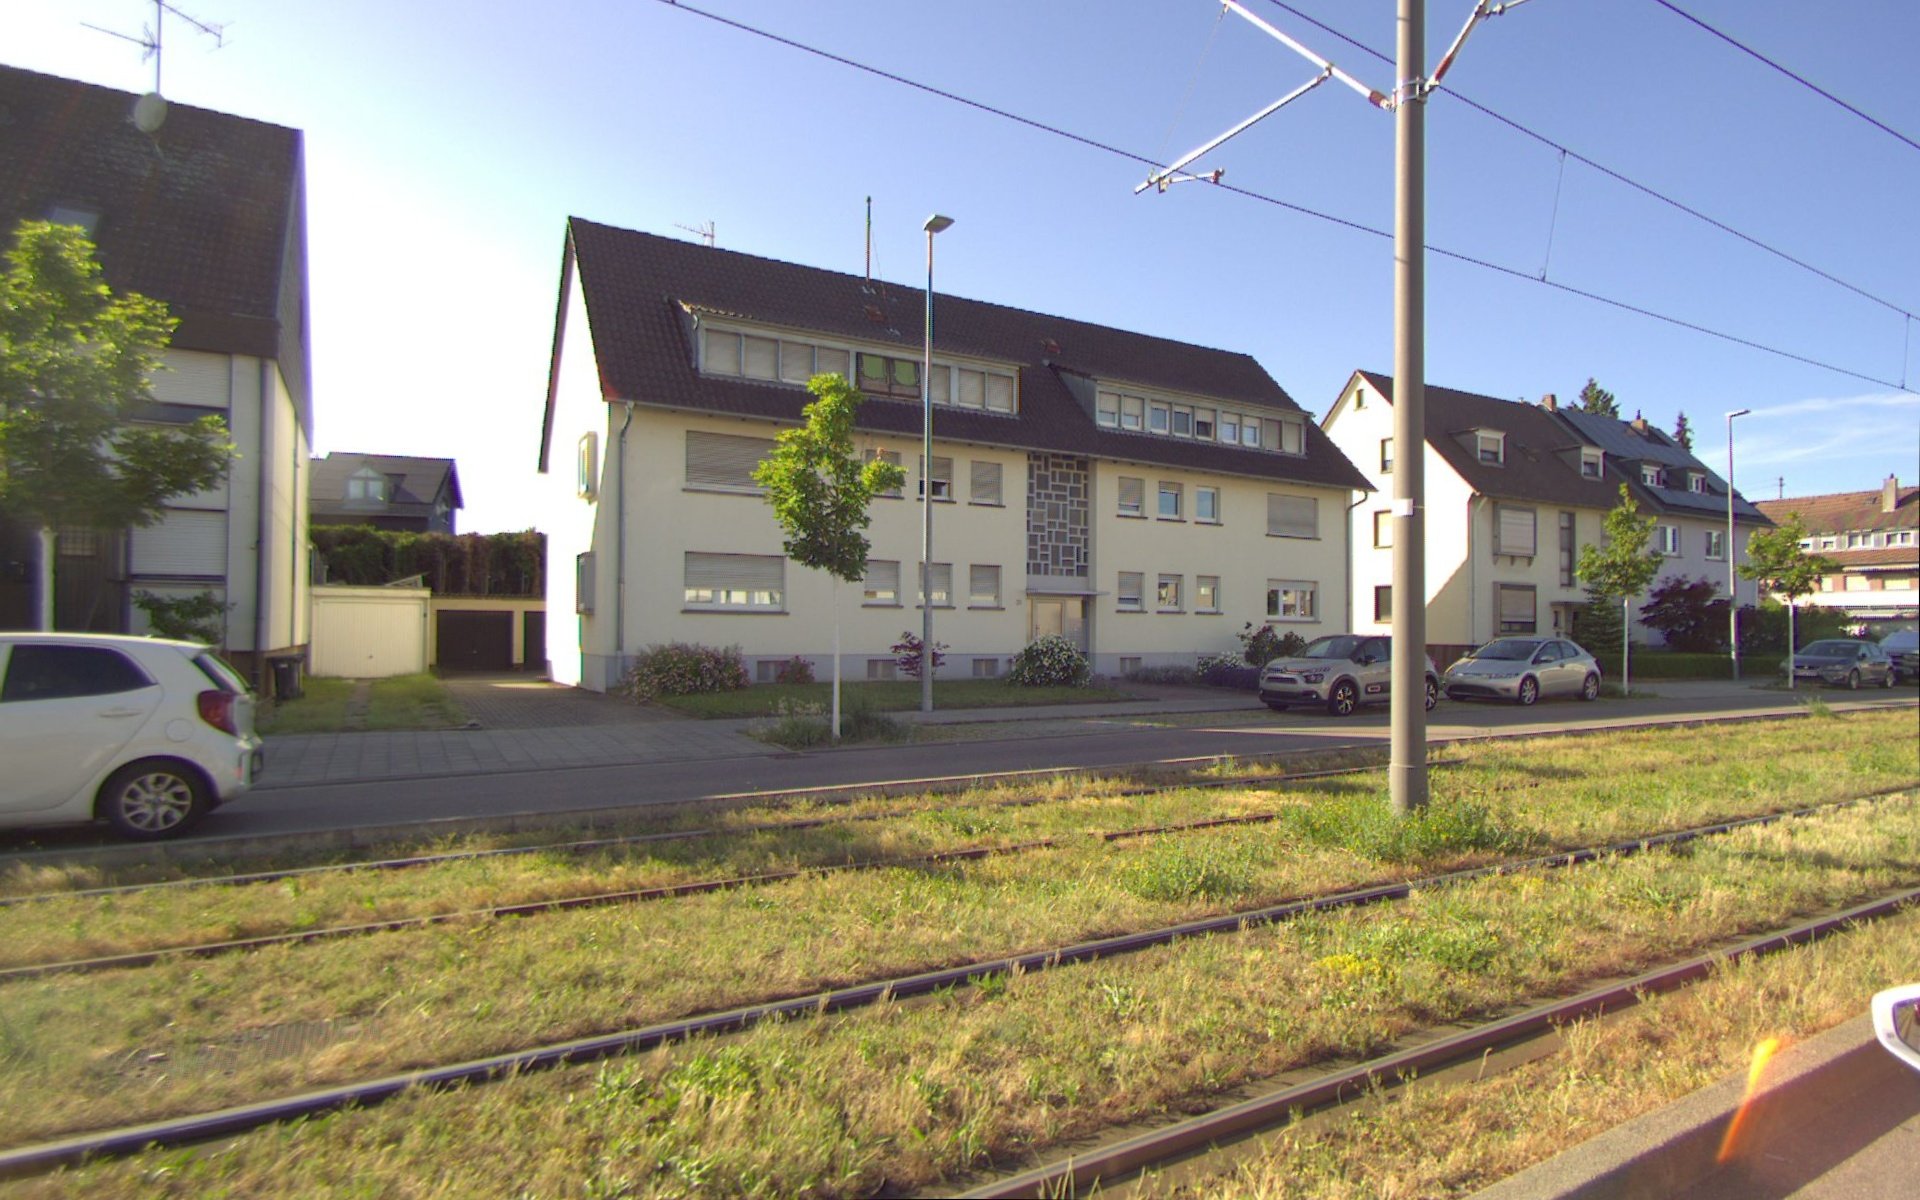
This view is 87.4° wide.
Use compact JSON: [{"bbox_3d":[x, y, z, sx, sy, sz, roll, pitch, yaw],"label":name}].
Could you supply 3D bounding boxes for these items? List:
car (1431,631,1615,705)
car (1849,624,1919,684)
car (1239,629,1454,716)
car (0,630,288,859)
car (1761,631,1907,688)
[{"bbox_3d":[12.738,1.494,22.671,4.392,1.495,1.680,2,-1,-31],"label":"car"},{"bbox_3d":[31.722,1.764,33.382,4.782,1.847,1.737,1,0,-29],"label":"car"},{"bbox_3d":[7.619,1.373,19.686,4.266,1.492,1.680,2,-1,-31],"label":"car"},{"bbox_3d":[-7.040,0.971,7.133,3.638,1.494,1.680,2,-3,-31],"label":"car"},{"bbox_3d":[26.648,1.795,30.602,4.502,1.561,1.951,2,-1,-30],"label":"car"}]
